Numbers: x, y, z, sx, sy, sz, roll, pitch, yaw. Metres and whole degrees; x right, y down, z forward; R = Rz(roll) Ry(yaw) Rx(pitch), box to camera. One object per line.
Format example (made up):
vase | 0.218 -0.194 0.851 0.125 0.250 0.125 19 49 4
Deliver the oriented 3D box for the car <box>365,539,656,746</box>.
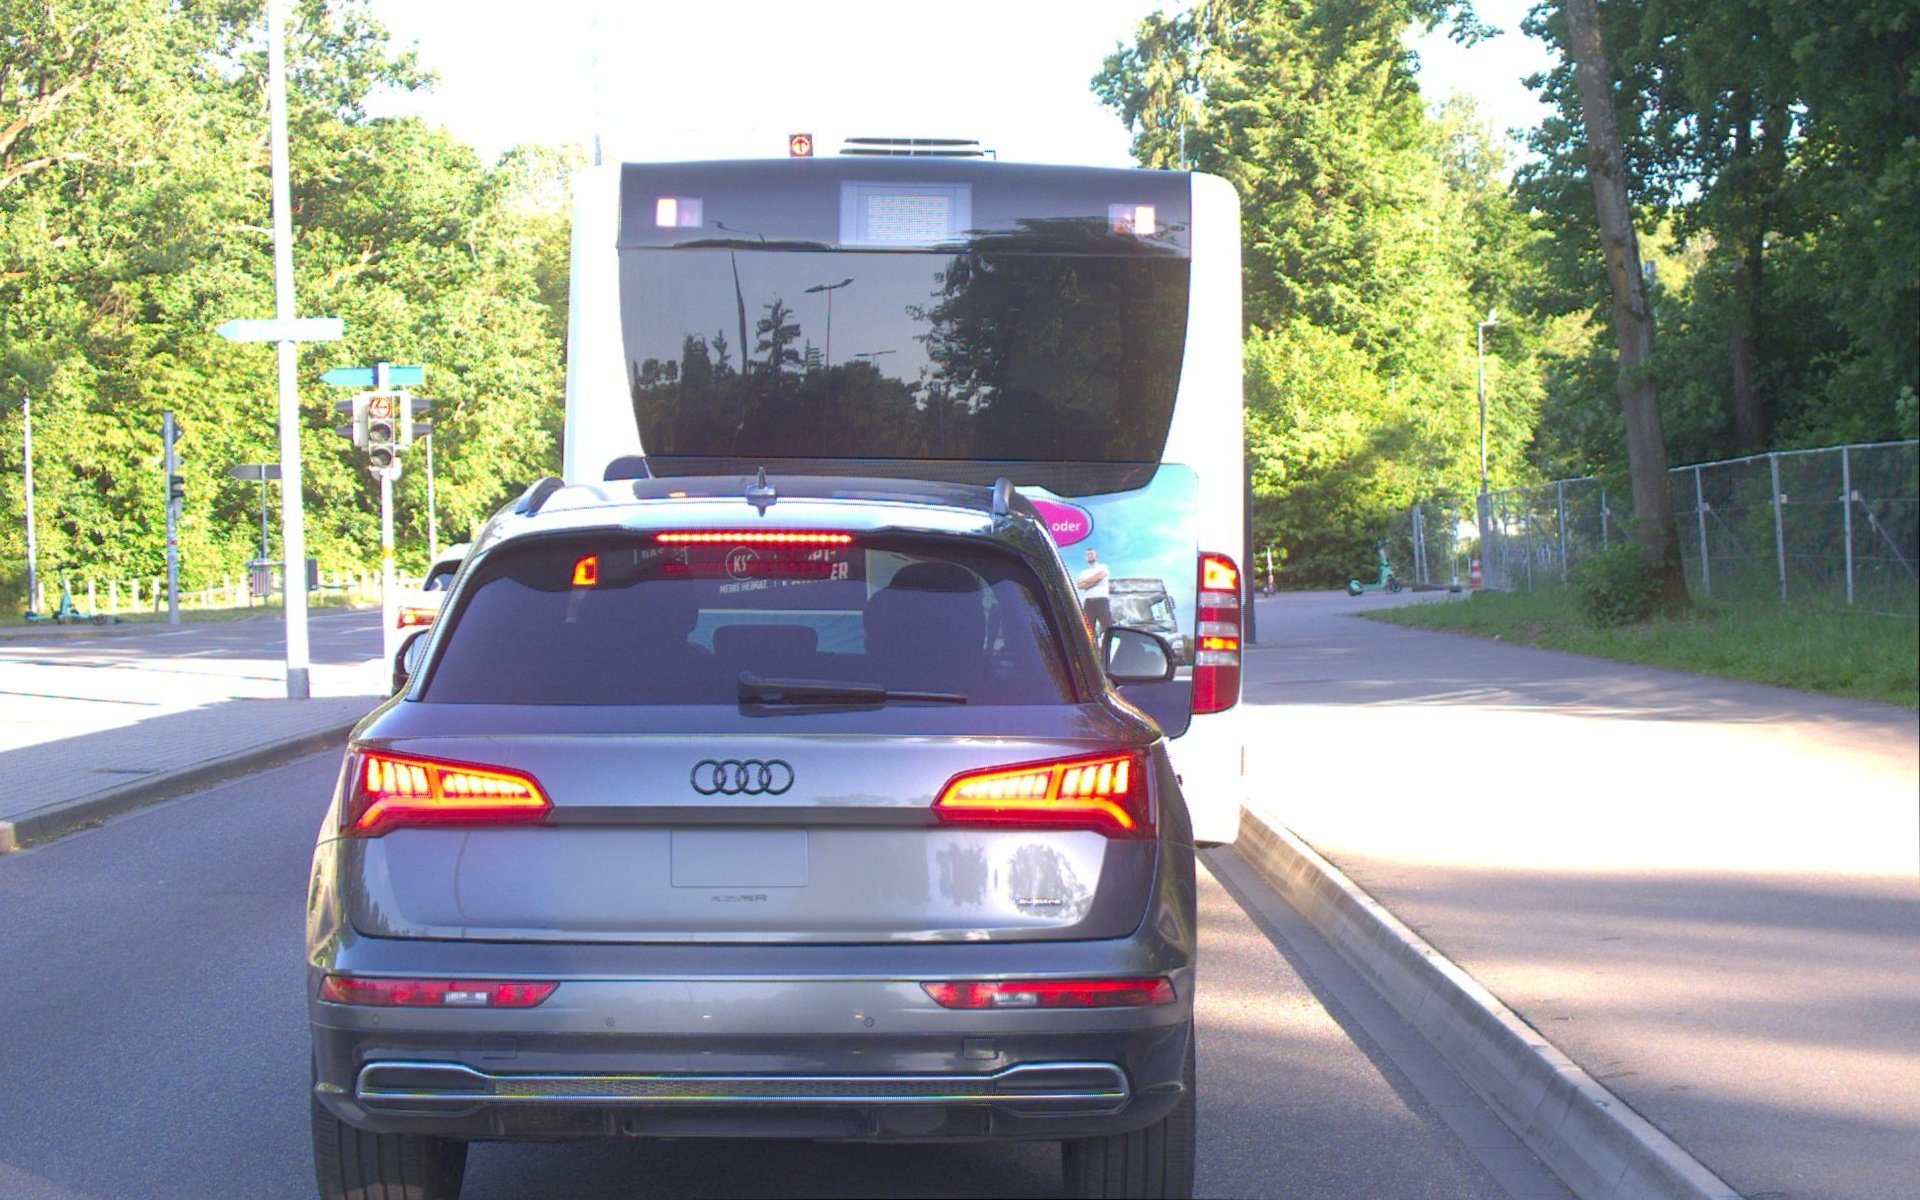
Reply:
car | -3.519 0.279 27.594 1.836 1.513 4.000 -1 1 -1

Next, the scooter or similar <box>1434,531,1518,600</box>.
scooter or similar | 11.897 -0.789 79.333 0.539 1.562 2.022 -3 1 -40

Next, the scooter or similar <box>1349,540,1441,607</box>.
scooter or similar | 9.883 -0.607 78.040 2.015 1.439 0.606 -2 1 -25

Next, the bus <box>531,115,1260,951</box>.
bus | -0.284 -0.276 16.937 2.594 2.978 9.327 0 0 -1

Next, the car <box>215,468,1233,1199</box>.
car | -0.467 0.537 8.447 1.898 1.626 4.000 0 1 -1

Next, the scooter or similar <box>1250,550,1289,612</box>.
scooter or similar | 7.259 -0.457 80.757 0.508 1.439 2.023 -2 1 -6
